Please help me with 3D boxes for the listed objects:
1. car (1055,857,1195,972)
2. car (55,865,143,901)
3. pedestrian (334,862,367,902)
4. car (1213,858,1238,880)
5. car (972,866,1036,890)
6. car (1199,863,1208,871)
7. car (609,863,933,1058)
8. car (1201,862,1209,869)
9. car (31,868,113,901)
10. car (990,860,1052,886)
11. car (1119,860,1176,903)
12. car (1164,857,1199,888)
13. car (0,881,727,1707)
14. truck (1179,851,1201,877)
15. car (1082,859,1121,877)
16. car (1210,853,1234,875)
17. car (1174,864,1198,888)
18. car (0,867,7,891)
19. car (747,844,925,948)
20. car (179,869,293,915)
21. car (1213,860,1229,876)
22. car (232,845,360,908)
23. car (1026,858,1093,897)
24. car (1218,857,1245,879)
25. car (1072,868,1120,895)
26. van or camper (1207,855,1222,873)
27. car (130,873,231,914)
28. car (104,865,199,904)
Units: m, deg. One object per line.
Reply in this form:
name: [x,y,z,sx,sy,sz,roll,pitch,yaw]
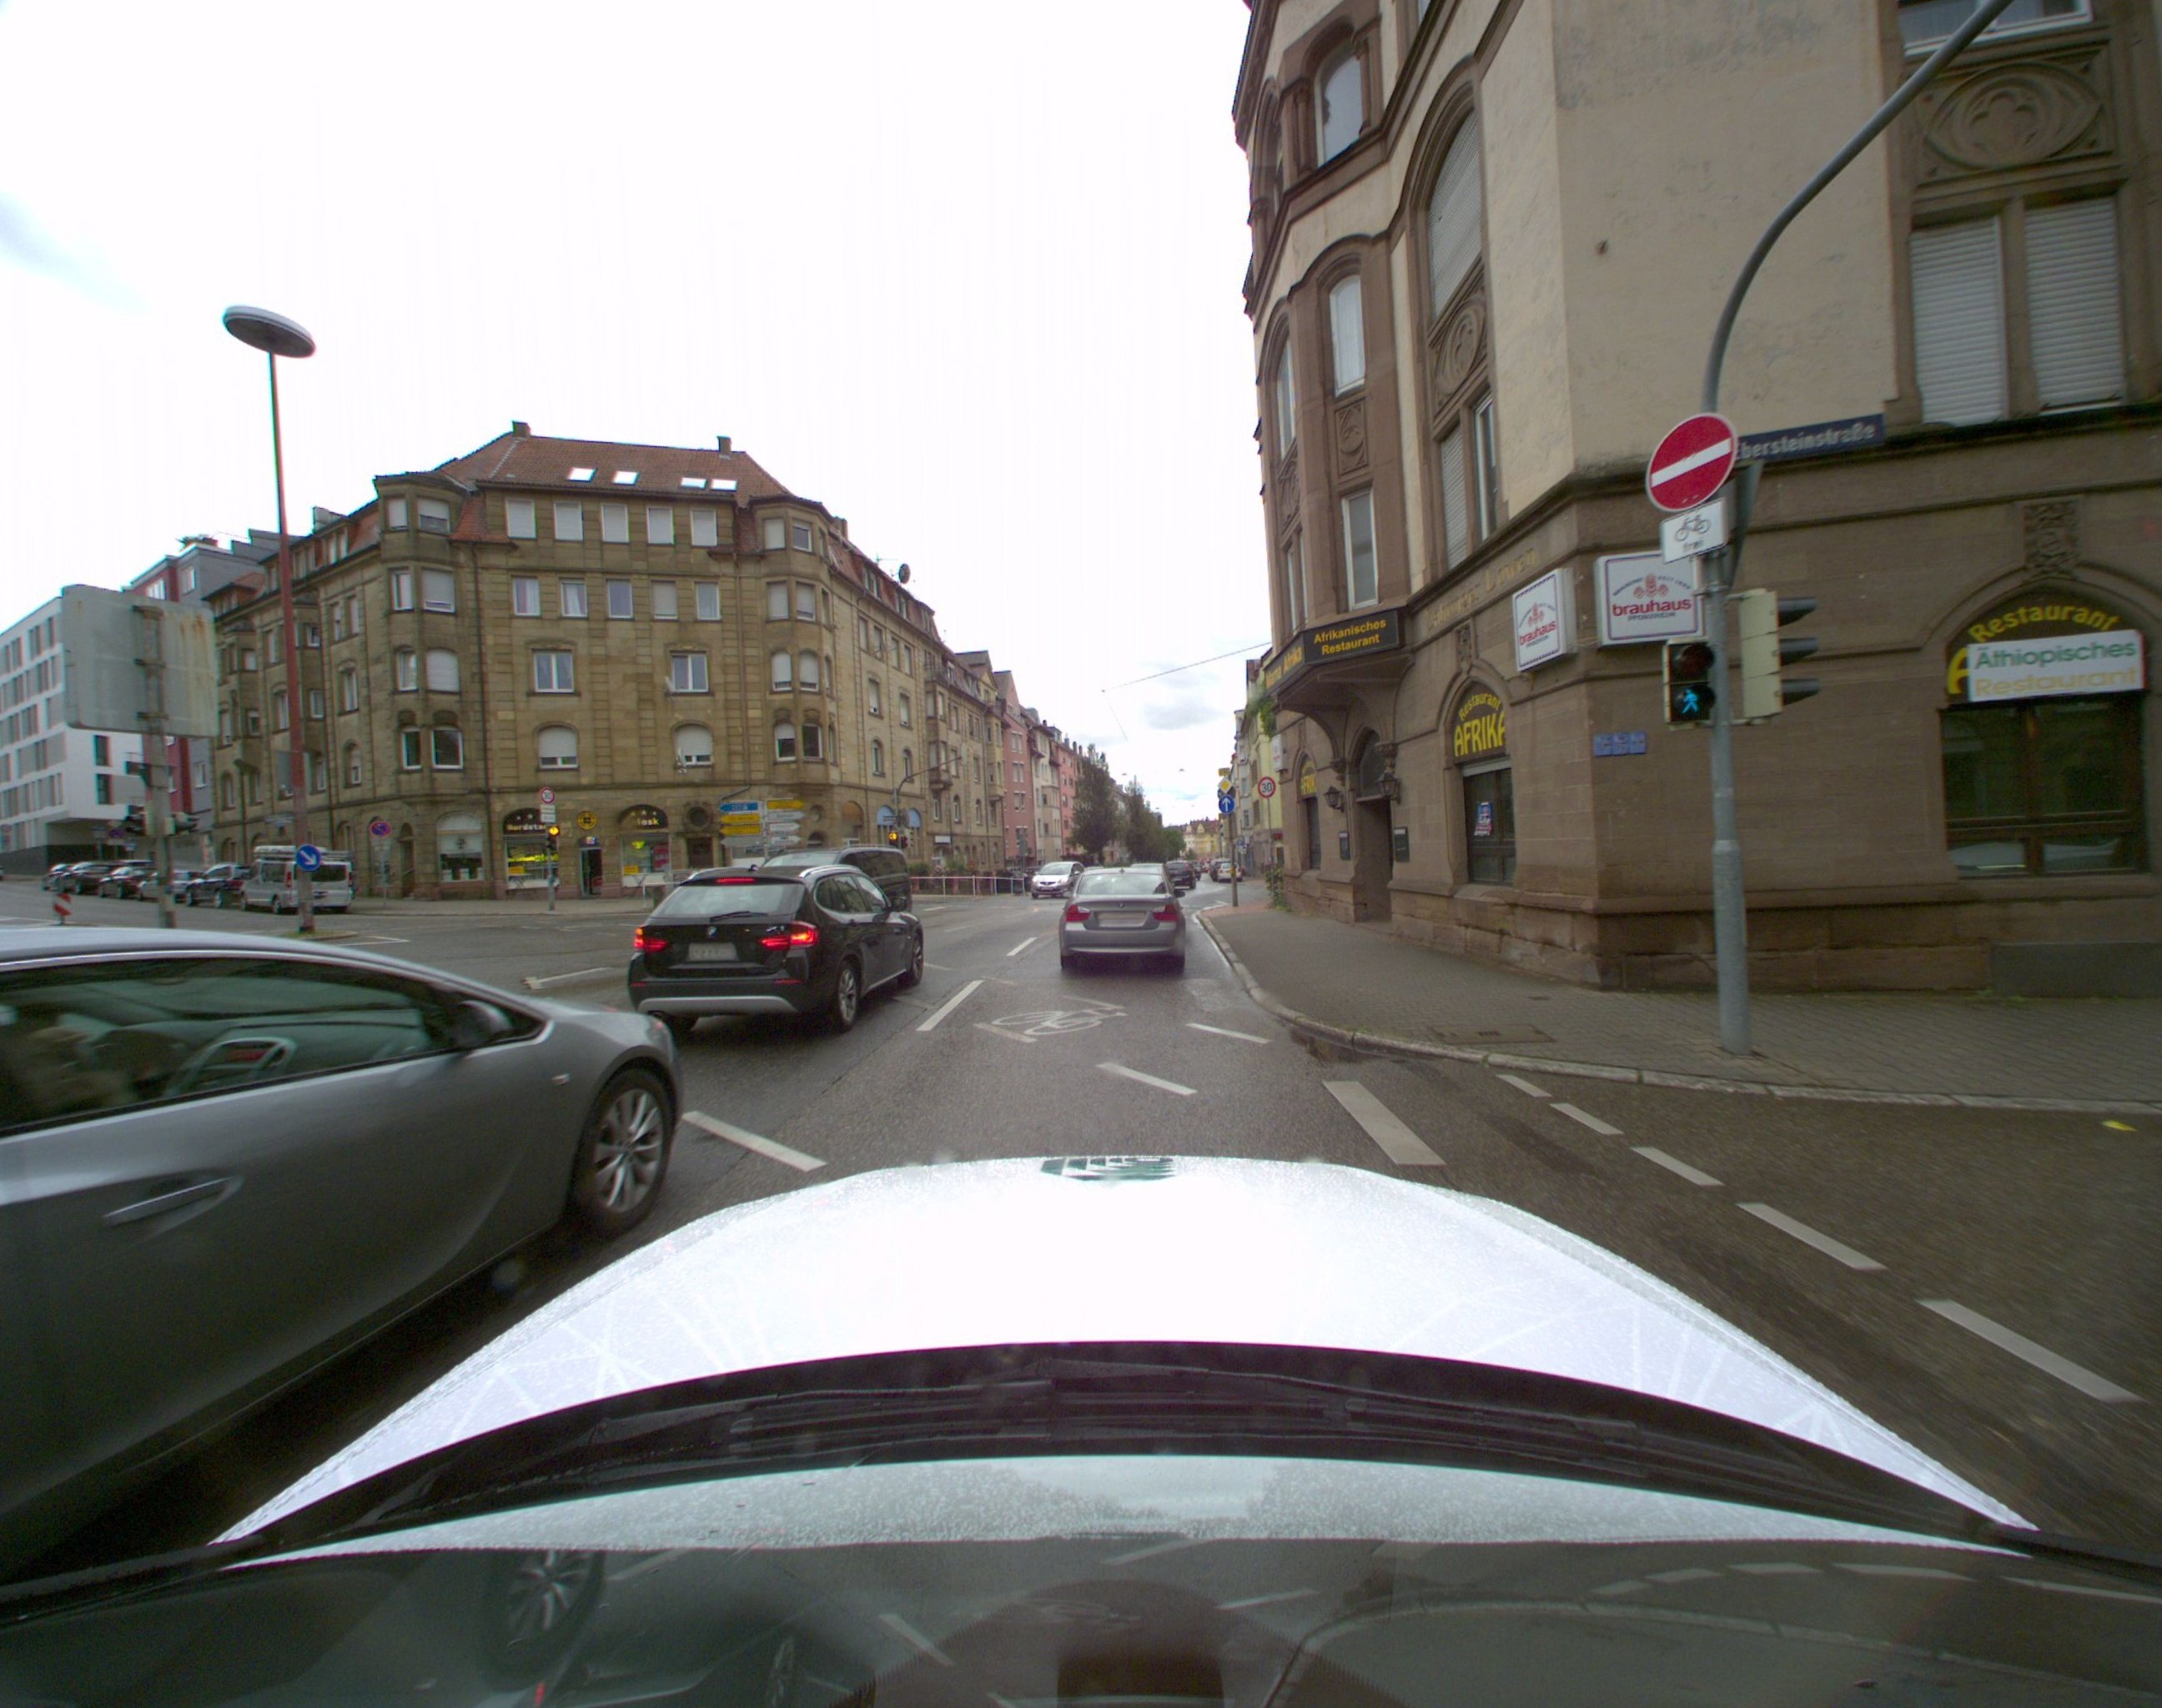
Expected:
car: [0.575,0.822,12.311,1.763,1.428,3.740,-1,-2,0]
car: [-49.832,1.468,41.321,4.162,1.704,2.012,-2,-1,28]
pedestrian: [-31.063,1.167,34.622,0.665,1.661,0.784,-1,-1,3]
car: [12.036,1.215,67.948,1.868,1.731,4.688,-2,-1,9]
car: [-5.468,1.681,57.976,4.123,1.510,1.878,-2,-1,8]
car: [26.274,2.803,174.519,1.868,1.731,4.688,-1,-1,9]
car: [-2.908,0.921,8.719,1.746,1.535,4.215,-1,-2,1]
car: [29.707,2.713,194.610,1.868,1.731,4.451,-1,-1,9]
car: [-54.501,1.651,43.983,4.162,1.704,2.012,-2,-1,28]
car: [-4.584,1.444,62.989,4.661,1.939,1.862,-1,-1,-1]
car: [2.484,0.979,29.568,1.671,1.428,3.751,-2,-1,10]
car: [5.219,0.980,42.791,1.689,1.483,3.798,-2,-2,5]
car: [-2.812,0.902,2.149,1.745,1.483,4.183,-2,0,2]
truck: [10.573,0.981,78.768,2.020,2.413,4.837,-2,-2,8]
car: [2.751,1.832,107.159,4.801,1.974,2.053,-4,-2,8]
car: [12.799,0.942,74.104,1.908,1.827,5.021,-4,-2,9]
car: [7.142,1.495,55.589,1.442,1.566,3.337,-2,-2,5]
car: [-79.778,1.858,59.017,4.162,1.704,1.708,-2,-1,28]
car: [-4.929,0.805,17.046,1.731,1.846,4.159,-3,-1,11]
car: [-33.627,1.491,32.403,4.326,1.704,2.012,-2,-1,28]
car: [19.269,1.924,112.121,1.970,2.007,4.636,-4,-2,9]
car: [-29.193,0.842,30.262,4.743,2.169,2.012,-2,-1,28]
car: [-0.855,0.961,34.924,1.612,1.518,3.889,-2,0,19]
car: [11.506,1.094,62.531,1.789,1.565,4.502,-2,-1,8]
car: [1.110,1.890,56.190,1.949,1.693,4.828,-3,-2,17]
van or camper: [22.452,1.695,136.927,2.019,2.869,6.908,0,-1,13]
car: [-39.813,1.720,36.002,4.162,1.704,2.012,-2,-1,28]
car: [-43.943,1.428,38.490,4.162,1.704,2.012,-2,-1,28]
